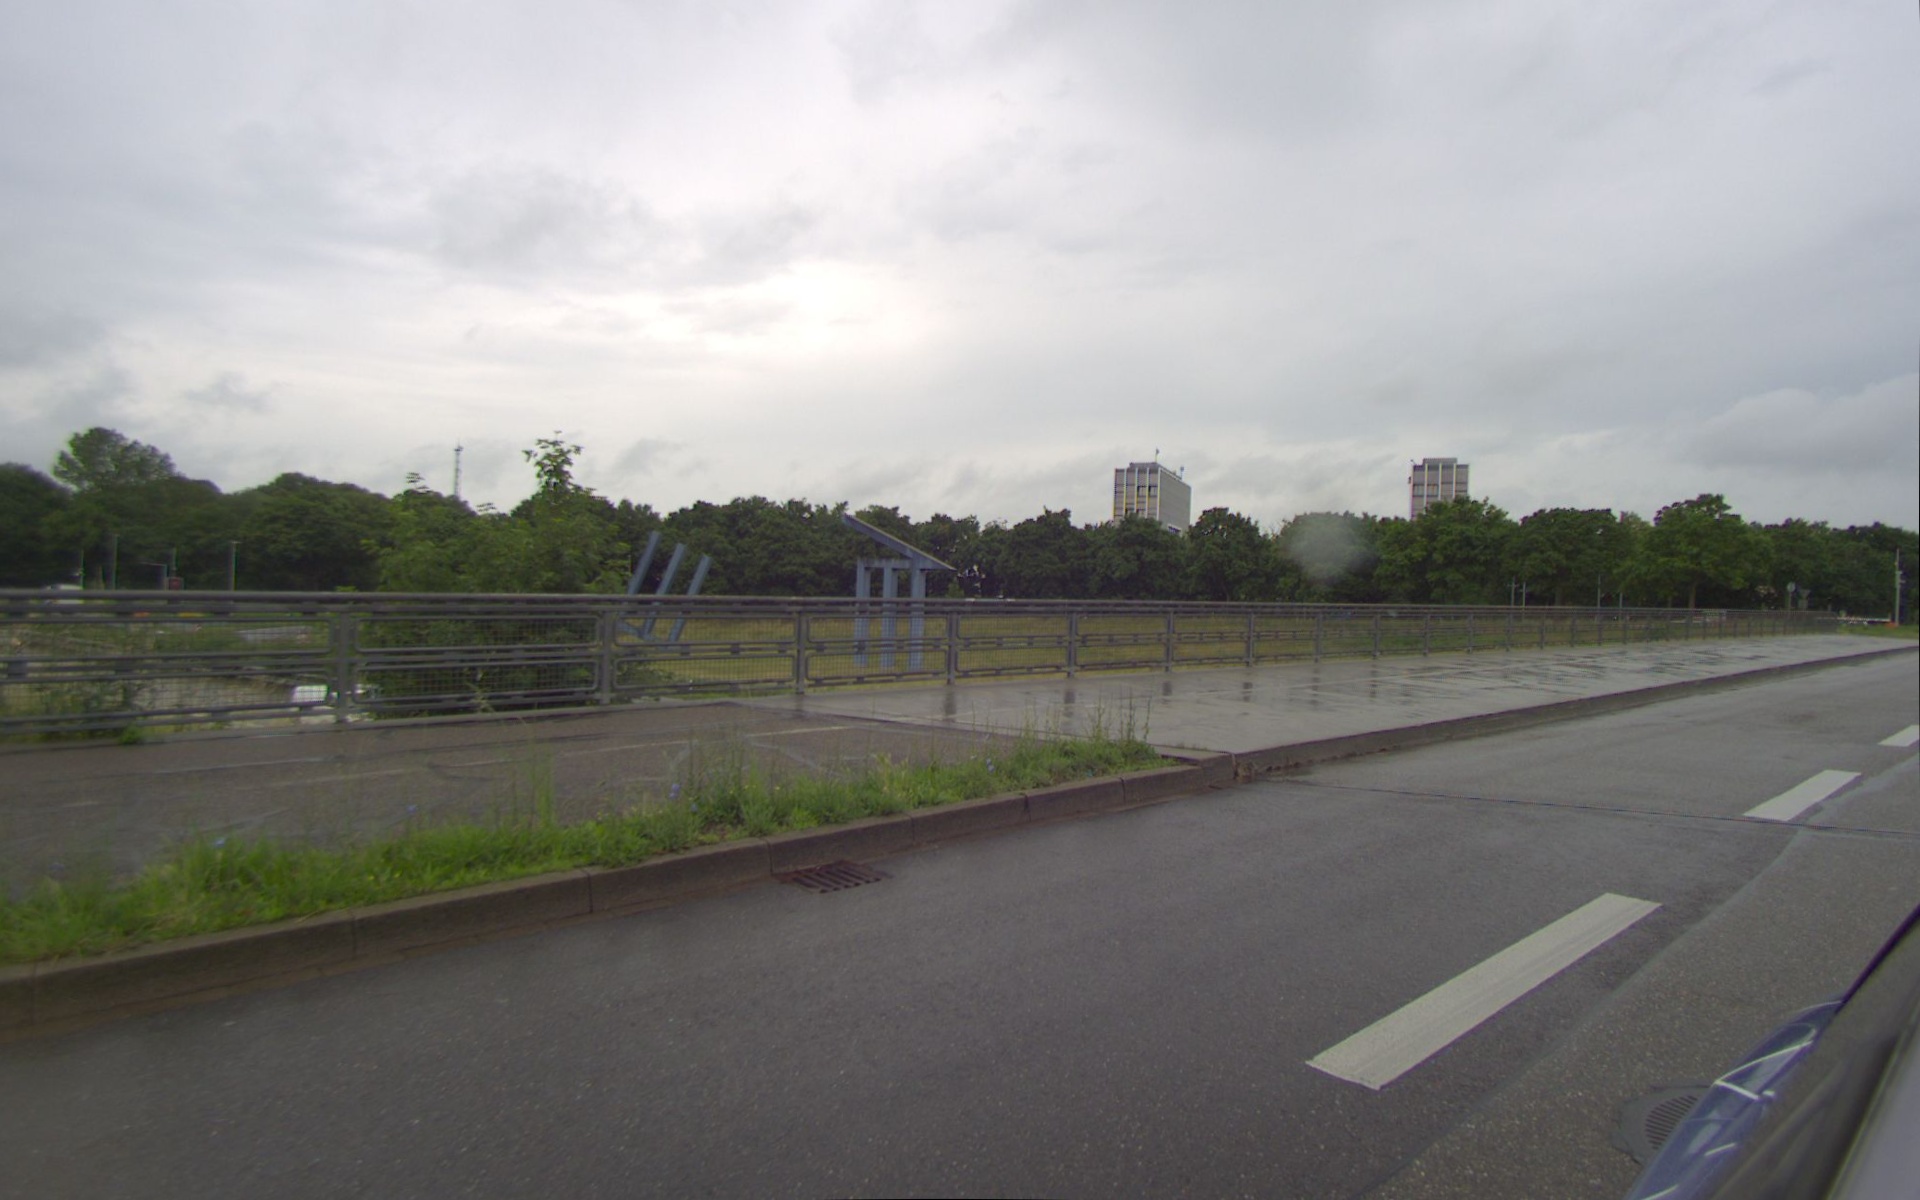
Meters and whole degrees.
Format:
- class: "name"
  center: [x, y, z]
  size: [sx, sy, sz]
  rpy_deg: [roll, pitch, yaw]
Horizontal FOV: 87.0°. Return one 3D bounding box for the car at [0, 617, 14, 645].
- class: "car"
  center: [-63.174, 1.958, 65.138]
  size: [4.702, 1.719, 1.980]
  rpy_deg: [2, 1, 28]
